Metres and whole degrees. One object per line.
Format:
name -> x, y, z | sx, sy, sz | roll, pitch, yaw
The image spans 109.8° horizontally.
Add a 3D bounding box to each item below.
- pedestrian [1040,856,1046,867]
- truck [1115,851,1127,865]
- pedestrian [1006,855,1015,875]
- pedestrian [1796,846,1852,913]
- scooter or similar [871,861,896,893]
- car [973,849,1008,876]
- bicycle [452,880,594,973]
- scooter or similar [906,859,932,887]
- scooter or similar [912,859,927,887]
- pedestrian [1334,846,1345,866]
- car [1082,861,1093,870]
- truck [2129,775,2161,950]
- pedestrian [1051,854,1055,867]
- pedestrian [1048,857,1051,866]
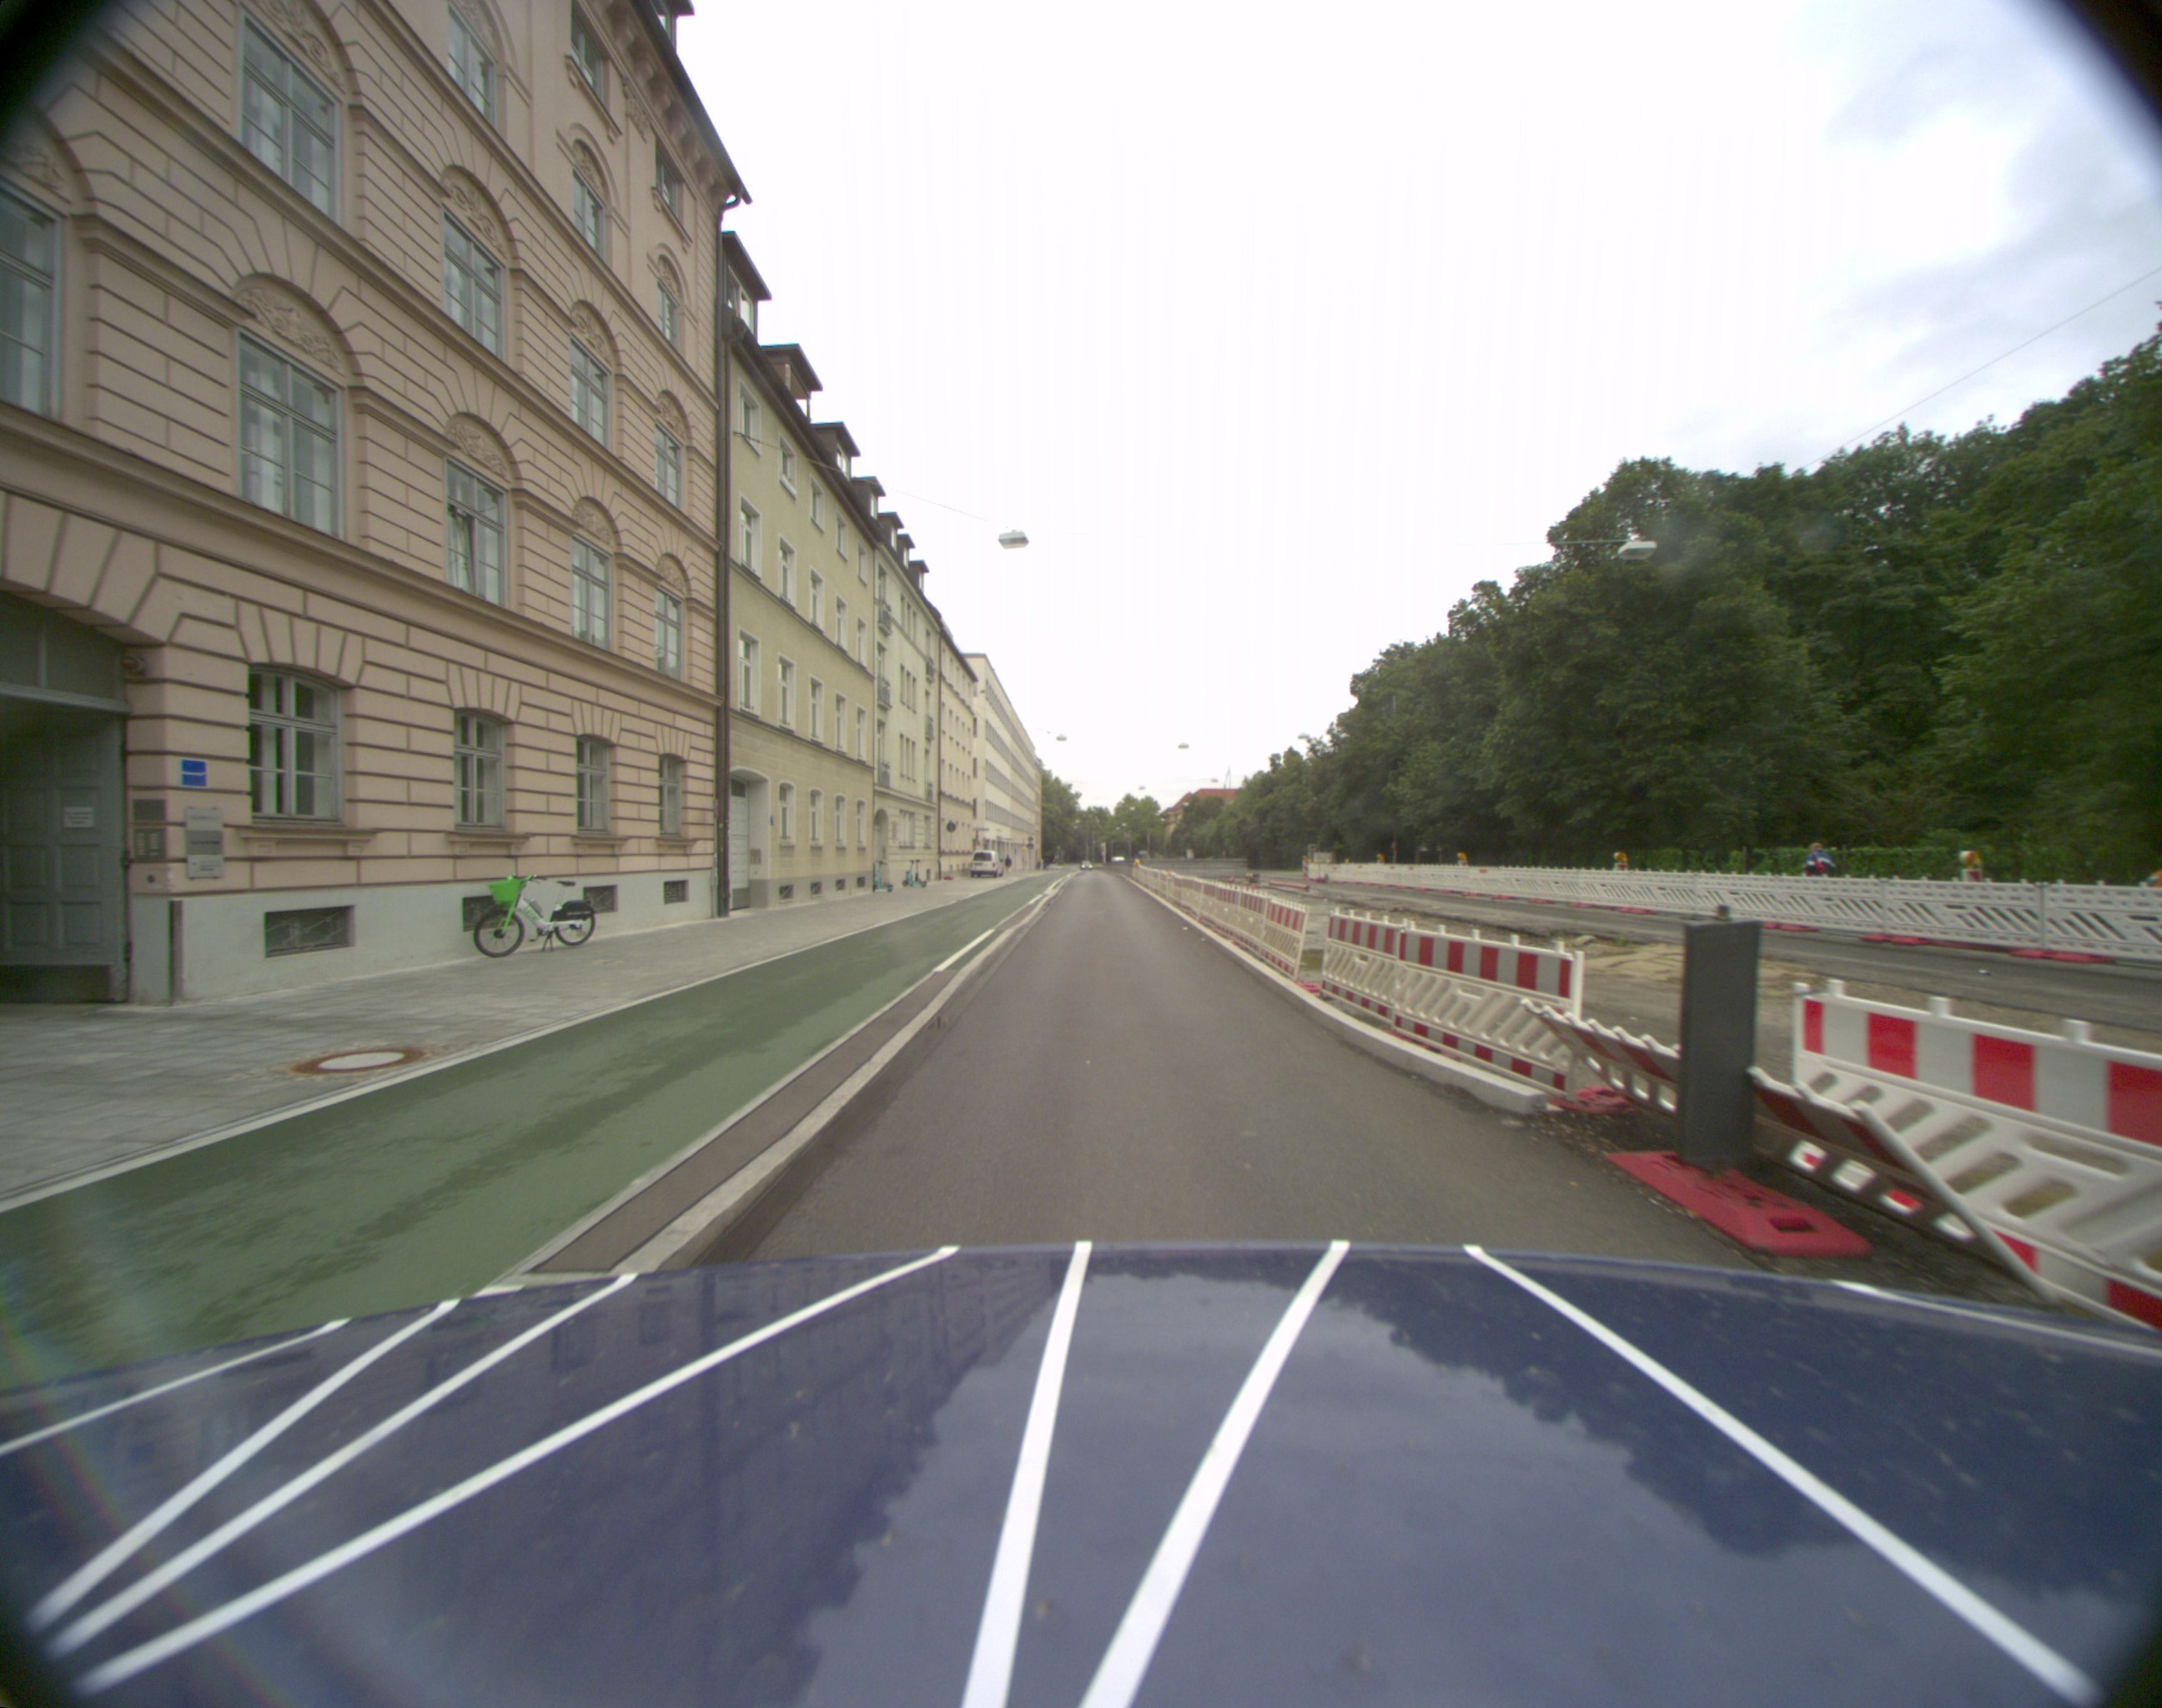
pedestrian -> -5.655, 1.141, 112.495 | 0.754, 1.610, 0.704 | 4, 1, 1
truck -> 7.527, 0.726, 143.722 | 2.058, 2.625, 4.412 | 0, 0, -1
pedestrian -> -5.740, 0.918, 62.052 | 0.666, 1.626, 0.737 | 1, 0, 1
pedestrian -> 17.868, 0.604, 18.273 | 0.664, 1.593, 0.698 | -1, 0, 2
scooter or similar -> -7.674, 0.891, 29.582 | 0.246, 1.224, 1.121 | 3, 1, 27
car -> -6.169, 0.543, 52.215 | 1.737, 1.739, 4.435 | 1, 0, 1
bicycle -> -7.975, 0.994, 10.956 | 0.426, 1.167, 1.734 | 1, 1, 18
scooter or similar -> -7.330, 0.855, 34.448 | 1.121, 1.224, 0.246 | 1, 1, -32
scooter or similar -> -7.546, 0.877, 35.509 | 0.387, 1.265, 1.119 | 2, 1, 0
pedestrian -> 21.105, 0.179, 62.083 | 0.664, 1.631, 0.698 | -1, 0, 2
car -> 1.203, 2.172, 147.100 | 1.999, 1.738, 4.000 | -1, 0, -1
truck -> 17.667, 0.128, 9.176 | 1.998, 2.712, 5.870 | 0, 0, 2
pedestrian -> -4.069, 0.987, 111.282 | 0.514, 1.825, 0.602 | 4, 1, 1
pedestrian -> -4.641, 1.137, 111.063 | 0.368, 1.239, 0.470 | 4, 1, 1
